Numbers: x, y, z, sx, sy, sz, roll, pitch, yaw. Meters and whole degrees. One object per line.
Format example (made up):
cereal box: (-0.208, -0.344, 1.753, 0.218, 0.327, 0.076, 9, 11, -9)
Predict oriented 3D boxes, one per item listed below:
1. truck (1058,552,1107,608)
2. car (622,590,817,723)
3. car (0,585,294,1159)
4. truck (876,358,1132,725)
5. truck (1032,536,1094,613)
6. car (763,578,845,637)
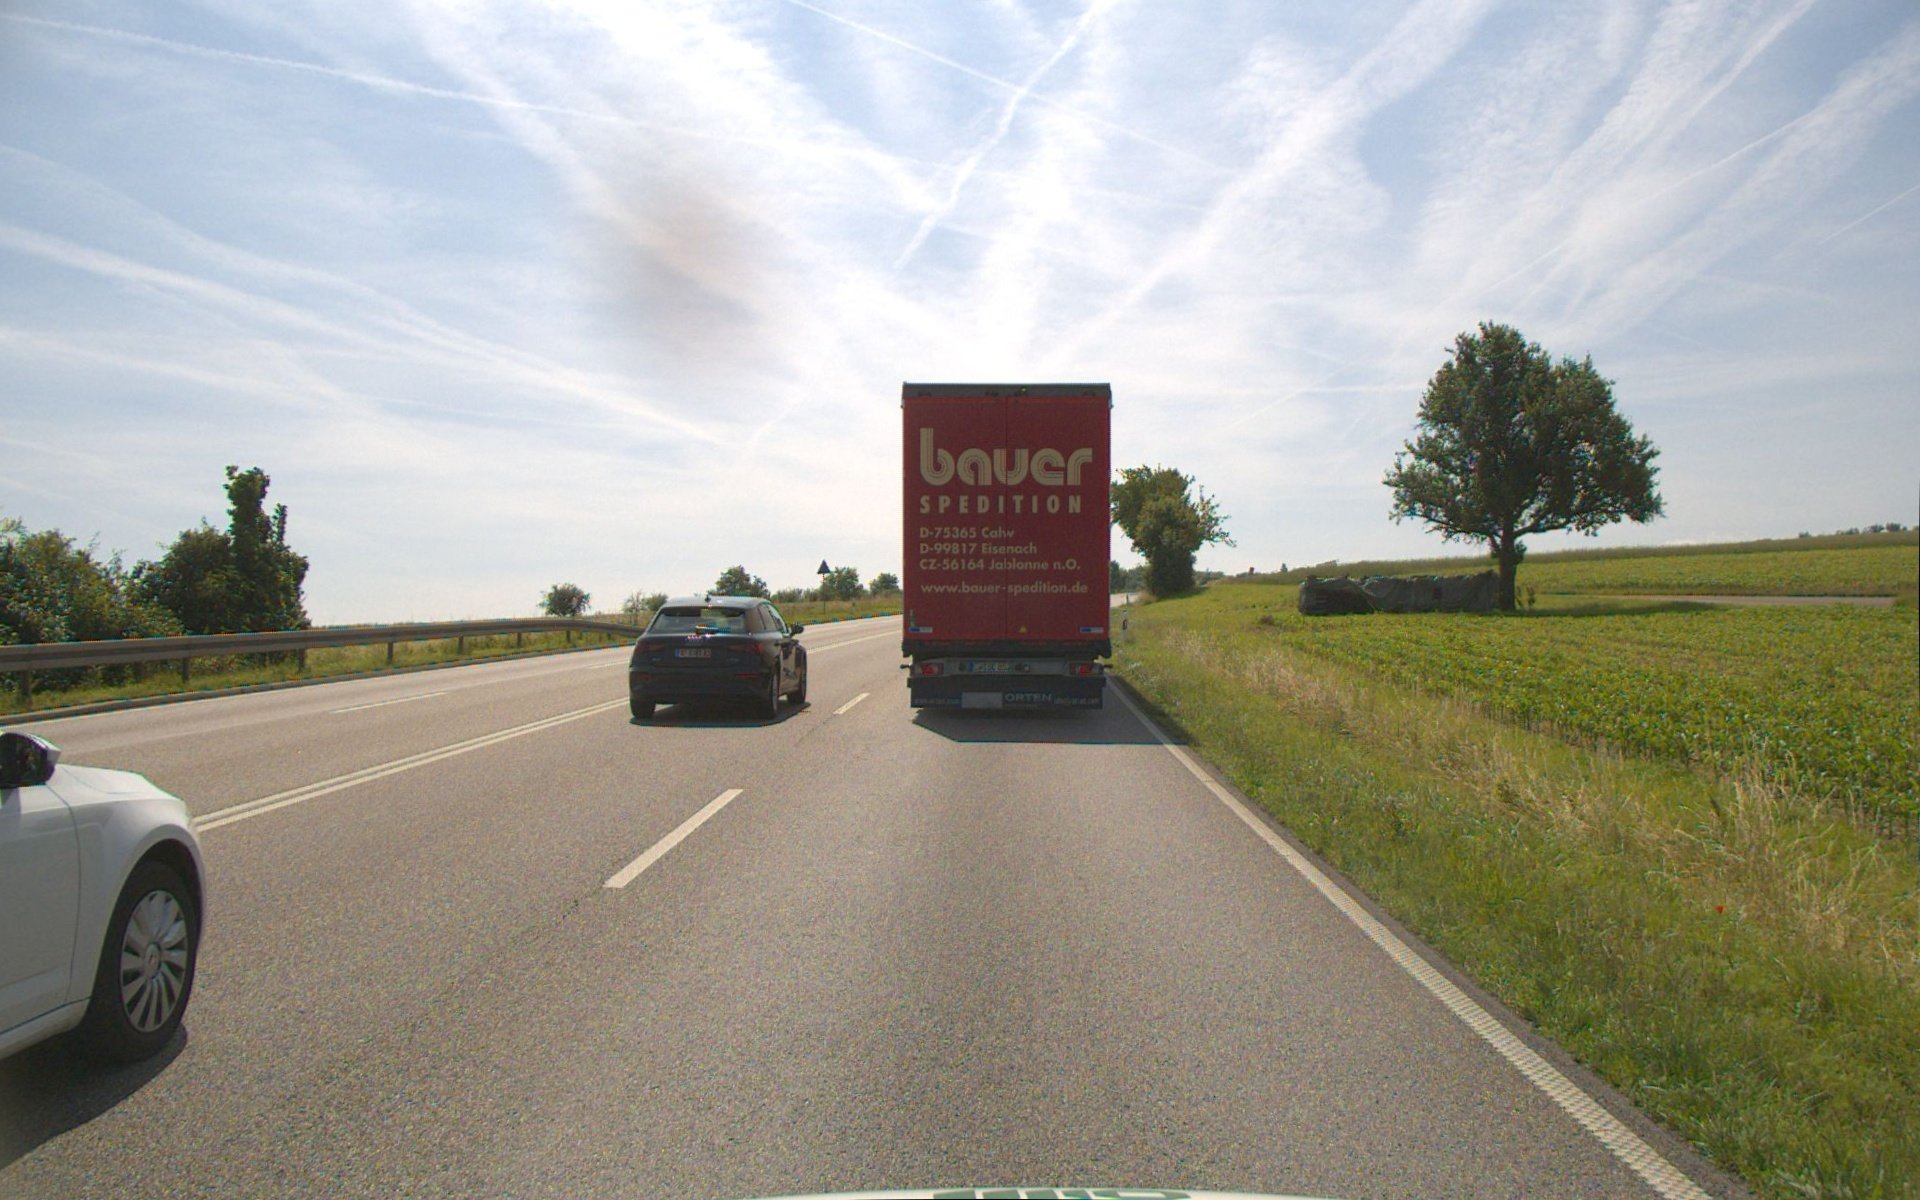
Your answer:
truck: (9.567, -1.500, 127.297, 2.982, 3.978, 18.411, -1, 0, 6)
car: (-2.947, 0.636, 21.215, 1.670, 1.498, 4.812, 0, 0, 1)
car: (-3.401, 0.713, 3.841, 1.783, 1.498, 4.788, 1, 0, 0)
truck: (0.645, -0.709, 27.667, 2.945, 4.253, 16.716, 1, 0, 1)
truck: (5.977, -1.373, 93.659, 2.982, 3.978, 15.625, -1, 0, 5)
car: (-5.322, 0.248, 57.108, 1.865, 1.917, 5.435, 1, 0, 5)
